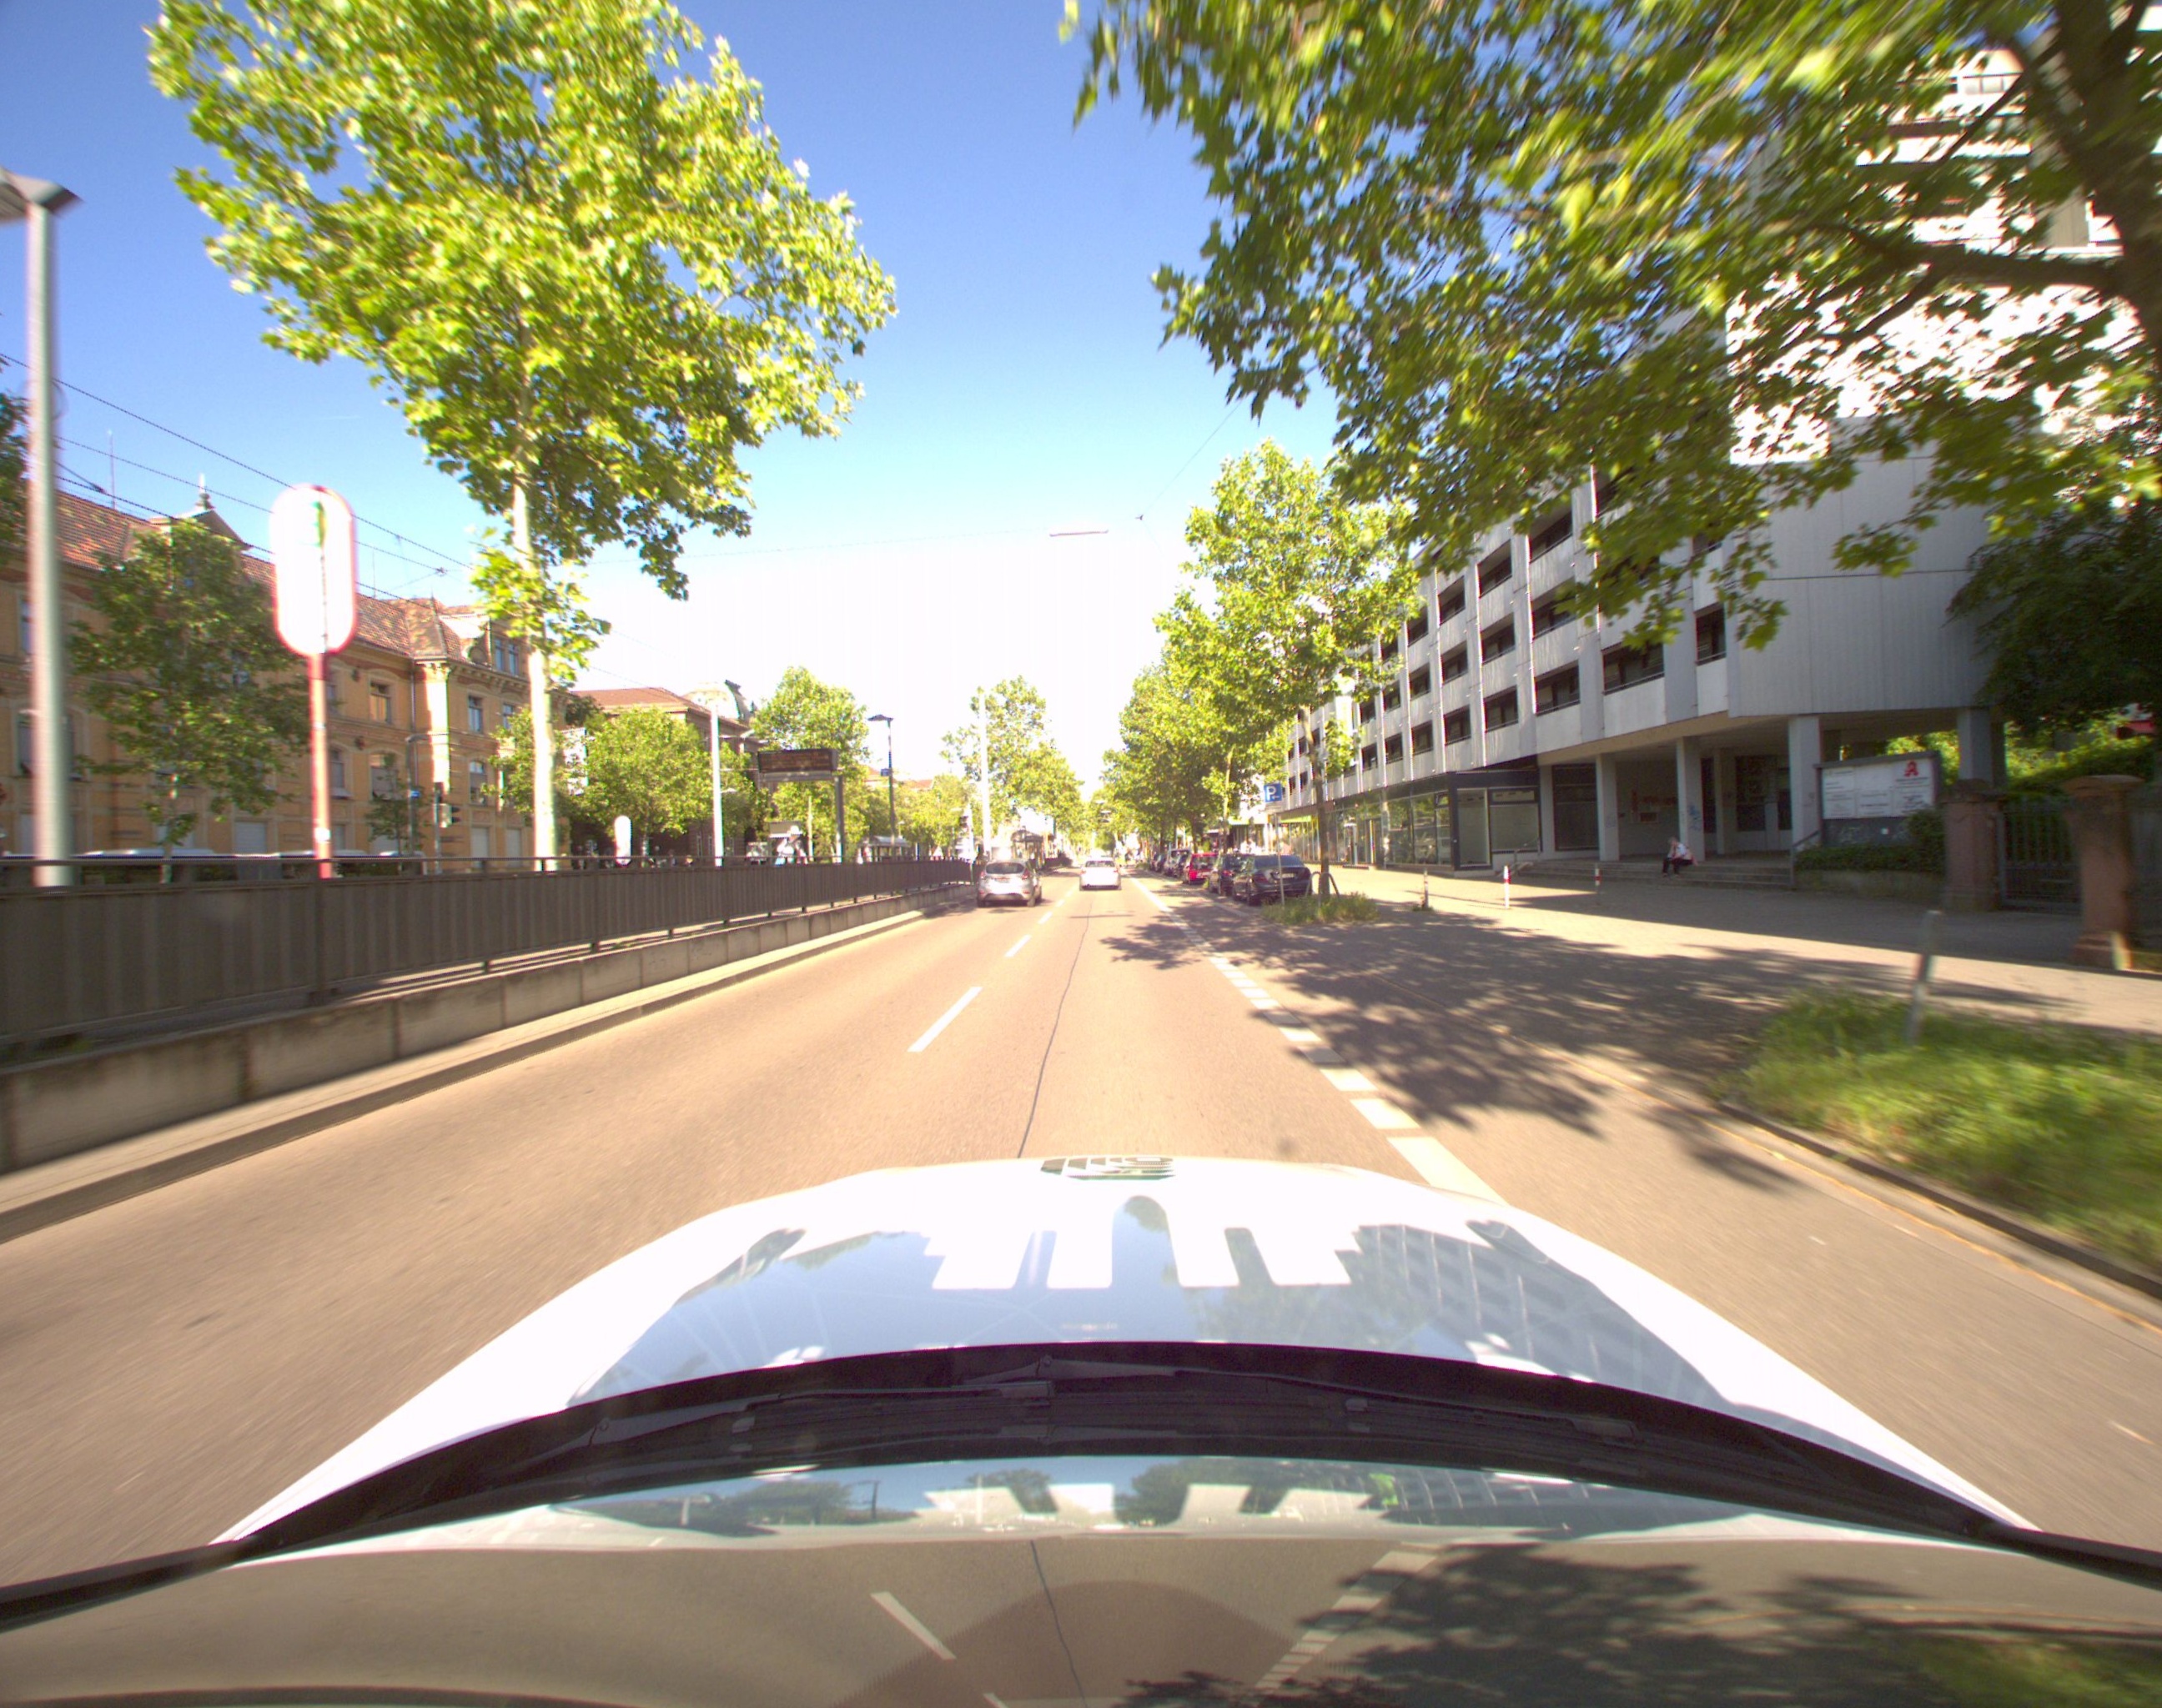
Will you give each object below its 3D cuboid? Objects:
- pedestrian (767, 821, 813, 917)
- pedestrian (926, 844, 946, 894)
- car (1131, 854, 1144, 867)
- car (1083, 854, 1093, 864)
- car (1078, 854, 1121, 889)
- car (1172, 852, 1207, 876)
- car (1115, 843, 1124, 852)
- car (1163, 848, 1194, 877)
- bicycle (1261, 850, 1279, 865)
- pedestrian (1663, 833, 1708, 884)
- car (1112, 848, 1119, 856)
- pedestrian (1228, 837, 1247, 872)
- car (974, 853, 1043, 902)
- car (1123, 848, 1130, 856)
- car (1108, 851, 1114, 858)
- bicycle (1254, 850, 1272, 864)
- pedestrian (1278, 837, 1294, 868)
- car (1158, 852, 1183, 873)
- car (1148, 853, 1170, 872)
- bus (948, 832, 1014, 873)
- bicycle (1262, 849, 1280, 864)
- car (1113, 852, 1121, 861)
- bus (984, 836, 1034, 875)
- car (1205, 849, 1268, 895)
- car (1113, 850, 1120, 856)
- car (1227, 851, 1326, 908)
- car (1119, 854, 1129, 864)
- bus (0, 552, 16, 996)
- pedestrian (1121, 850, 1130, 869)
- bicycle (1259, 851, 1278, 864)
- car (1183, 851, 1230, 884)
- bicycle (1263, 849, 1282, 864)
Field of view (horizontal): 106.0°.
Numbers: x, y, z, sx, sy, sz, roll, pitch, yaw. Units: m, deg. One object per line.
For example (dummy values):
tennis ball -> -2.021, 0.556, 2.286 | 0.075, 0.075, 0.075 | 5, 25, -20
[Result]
pedestrian -> -6.035, 0.305, 16.937 | 0.636, 1.954, 0.814 | 0, 0, 2
pedestrian -> -5.702, 0.594, 32.058 | 0.636, 1.954, 0.814 | 0, 0, 2
car -> 8.389, 0.904, 120.221 | 1.802, 1.791, 3.913 | 0, 0, 2
car -> 1.441, 0.931, 164.757 | 1.986, 2.013, 4.002 | 0, 0, 2
car -> 0.821, 0.728, 35.682 | 1.756, 1.432, 4.001 | -1, 0, 1
car -> 6.535, 0.590, 49.293 | 1.774, 1.381, 4.002 | 0, -1, 2
car -> 8.831, -1.594, 188.581 | 1.986, 2.013, 4.001 | -2, 0, 1
car -> 6.543, 0.527, 54.937 | 1.718, 1.880, 4.002 | 0, 0, 2
bicycle -> 14.505, 0.252, 62.530 | 1.378, 1.148, 0.243 | 0, 0, 1
pedestrian -> 16.377, 0.115, 22.088 | 0.714, 1.357, 0.745 | 0, 0, 9
car -> 9.189, -0.497, 216.732 | 1.986, 2.013, 4.002 | 0, 0, 2
pedestrian -> 9.489, 0.028, 49.364 | 0.960, 2.013, 0.939 | -2, 0, 2
car -> -2.159, 0.672, 25.186 | 1.640, 1.362, 3.762 | 0, 0, 2
car -> 11.770, -0.505, 211.448 | 1.868, 2.013, 3.713 | 0, 0, 2
car -> 9.414, 0.137, 253.206 | 1.986, 2.013, 4.002 | 0, 0, 2
bicycle -> 14.452, 0.262, 64.807 | 1.378, 1.098, 0.243 | 0, 0, 1
pedestrian -> 13.466, -0.082, 53.417 | 0.785, 2.013, 0.891 | -2, 0, 2
car -> 6.965, 0.665, 63.868 | 1.704, 1.563, 4.002 | 0, 0, 2
car -> 6.763, 0.706, 71.038 | 1.694, 1.534, 3.719 | 0, 0, 2
bus -> -10.206, -0.184, 86.959 | 2.858, 3.628, 24.617 | -2, 0, 2
bicycle -> 14.517, 0.206, 62.206 | 1.378, 1.148, 0.243 | 0, 0, 1
car -> 8.839, 0.580, 200.638 | 2.063, 2.013, 4.002 | -2, 0, 2
bus -> -7.305, 0.102, 86.167 | 2.739, 3.625, 18.858 | -2, 0, 2
car -> 5.534, 0.588, 29.367 | 1.663, 1.551, 4.002 | 0, 0, 2
car -> 10.245, -0.385, 237.708 | 1.986, 1.698, 4.002 | -2, 0, 2
car -> 5.650, 0.714, 24.113 | 1.986, 1.509, 4.600 | 0, -1, 2
car -> 8.371, 0.984, 158.509 | 1.986, 2.013, 4.002 | 0, 0, 2
bus -> -10.034, -0.561, 0.594 | 2.858, 3.444, 11.617 | -2, 0, 2
pedestrian -> 4.722, 0.601, 86.622 | 0.833, 2.013, 0.650 | 0, 0, 9
bicycle -> 14.528, 0.272, 63.163 | 1.378, 1.058, 0.243 | 0, 0, 1
car -> 6.032, 0.628, 39.443 | 1.799, 1.520, 4.002 | 0, -1, 2
bicycle -> 14.518, 0.209, 61.833 | 1.378, 1.148, 0.243 | 0, 0, 1
